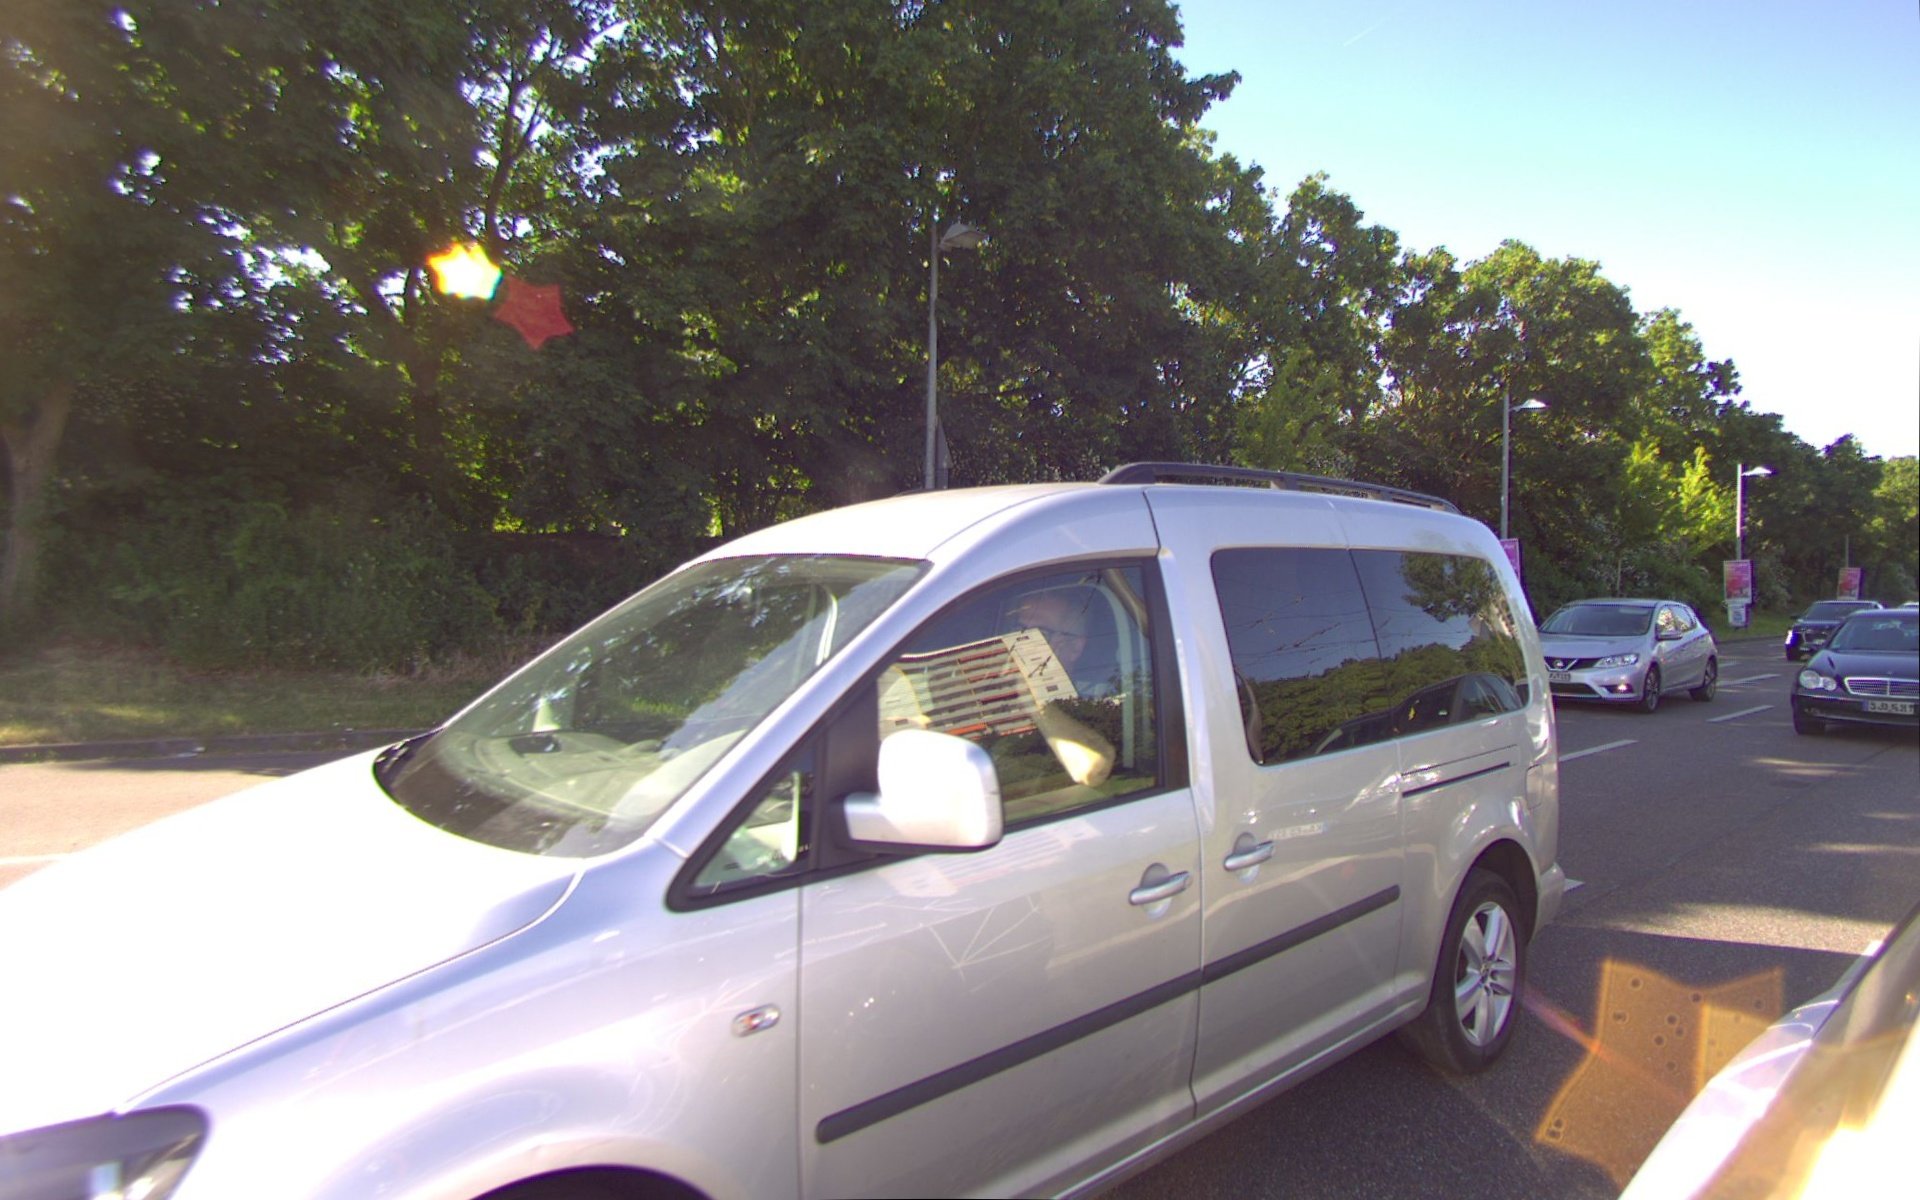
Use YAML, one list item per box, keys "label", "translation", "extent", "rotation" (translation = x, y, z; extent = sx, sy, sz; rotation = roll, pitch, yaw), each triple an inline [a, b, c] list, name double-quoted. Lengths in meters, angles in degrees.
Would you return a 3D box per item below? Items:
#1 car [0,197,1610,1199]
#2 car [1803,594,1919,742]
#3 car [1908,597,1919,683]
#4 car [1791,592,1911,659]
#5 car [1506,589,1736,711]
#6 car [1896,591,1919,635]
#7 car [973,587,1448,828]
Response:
- label: "car"
  translation: [0.010, 0.492, 2.931]
  extent: [4.504, 1.844, 1.809]
  rotation: [-1, 1, -39]
- label: "car"
  translation: [11.187, 0.697, 11.660]
  extent: [4.126, 1.472, 1.715]
  rotation: [0, 1, -43]
- label: "car"
  translation: [18.102, 0.681, 17.767]
  extent: [3.979, 1.437, 1.722]
  rotation: [0, 1, -41]
- label: "car"
  translation: [22.226, 0.566, 25.202]
  extent: [3.894, 1.512, 1.713]
  rotation: [0, 1, -40]
- label: "car"
  translation: [9.660, 0.622, 14.680]
  extent: [4.064, 1.536, 1.725]
  rotation: [0, 0, -40]
- label: "car"
  translation: [33.648, 0.418, 34.722]
  extent: [4.309, 1.454, 1.748]
  rotation: [-1, 1, -40]
- label: "car"
  translation: [2.251, 0.665, 8.482]
  extent: [4.151, 1.527, 1.771]
  rotation: [-1, 0, -40]
